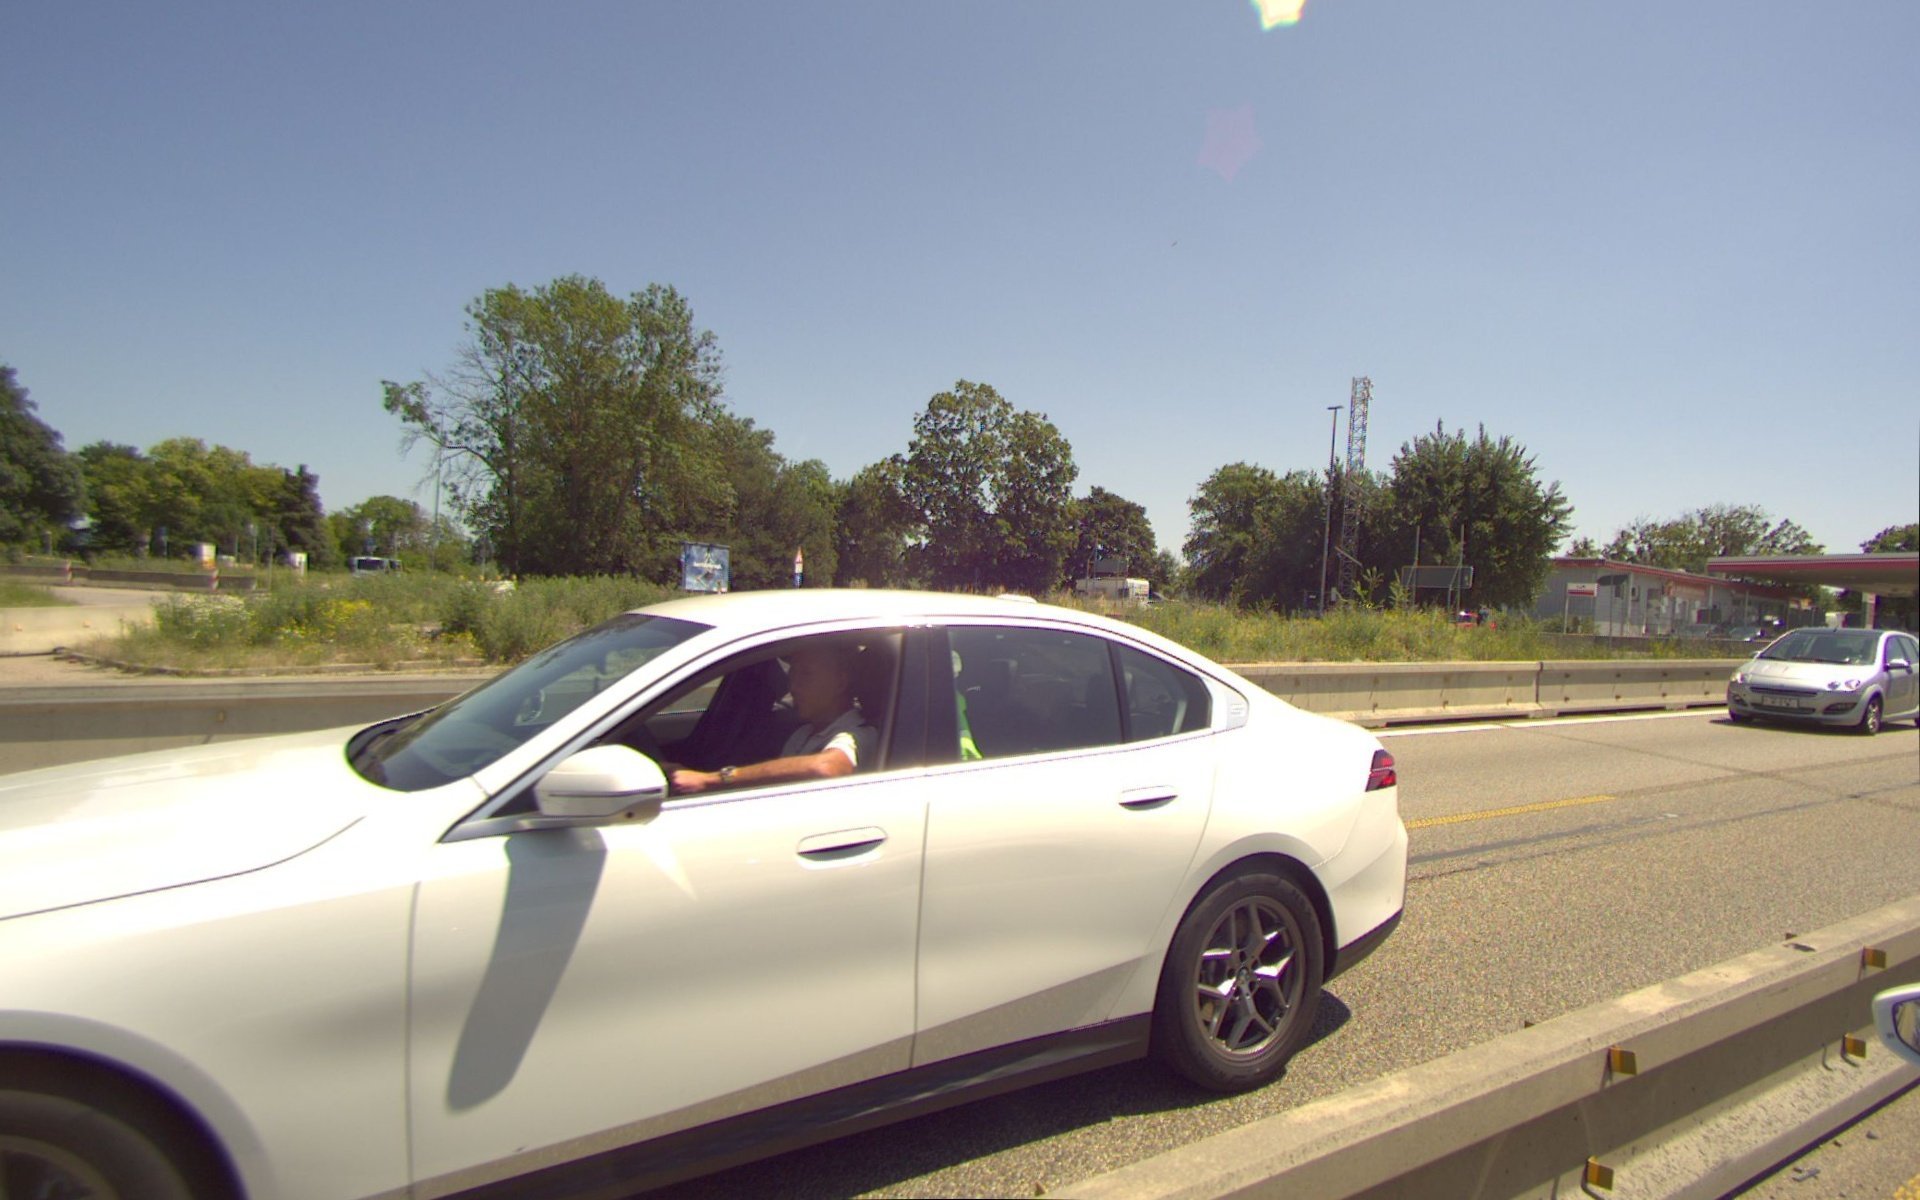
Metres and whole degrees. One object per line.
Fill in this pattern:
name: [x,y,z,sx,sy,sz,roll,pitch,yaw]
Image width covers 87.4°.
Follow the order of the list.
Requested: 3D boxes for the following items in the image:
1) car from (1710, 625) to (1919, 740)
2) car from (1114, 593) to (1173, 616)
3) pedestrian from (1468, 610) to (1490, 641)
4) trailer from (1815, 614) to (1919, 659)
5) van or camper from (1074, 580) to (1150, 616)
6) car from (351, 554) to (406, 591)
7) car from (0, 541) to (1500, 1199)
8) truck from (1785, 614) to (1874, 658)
car: [13.038,1.159,15.047,3.744,1.467,1.614,2,1,-32]
car: [13.359,0.308,73.256,1.981,1.483,3.959,1,1,-36]
pedestrian: [20.635,1.004,39.937,0.576,1.221,0.474,1,0,-16]
trailer: [93.731,3.754,100.735,13.892,4.165,3.159,2,-1,-4]
van or camper: [10.730,-0.185,71.301,2.425,2.430,5.169,1,0,-36]
car: [-33.764,-1.609,58.451,1.969,2.041,3.983,2,1,-19]
car: [-0.508,0.723,3.281,4.705,1.512,1.887,1,-2,-31]
truck: [86.733,3.546,100.231,6.225,4.038,3.159,2,-1,-4]
